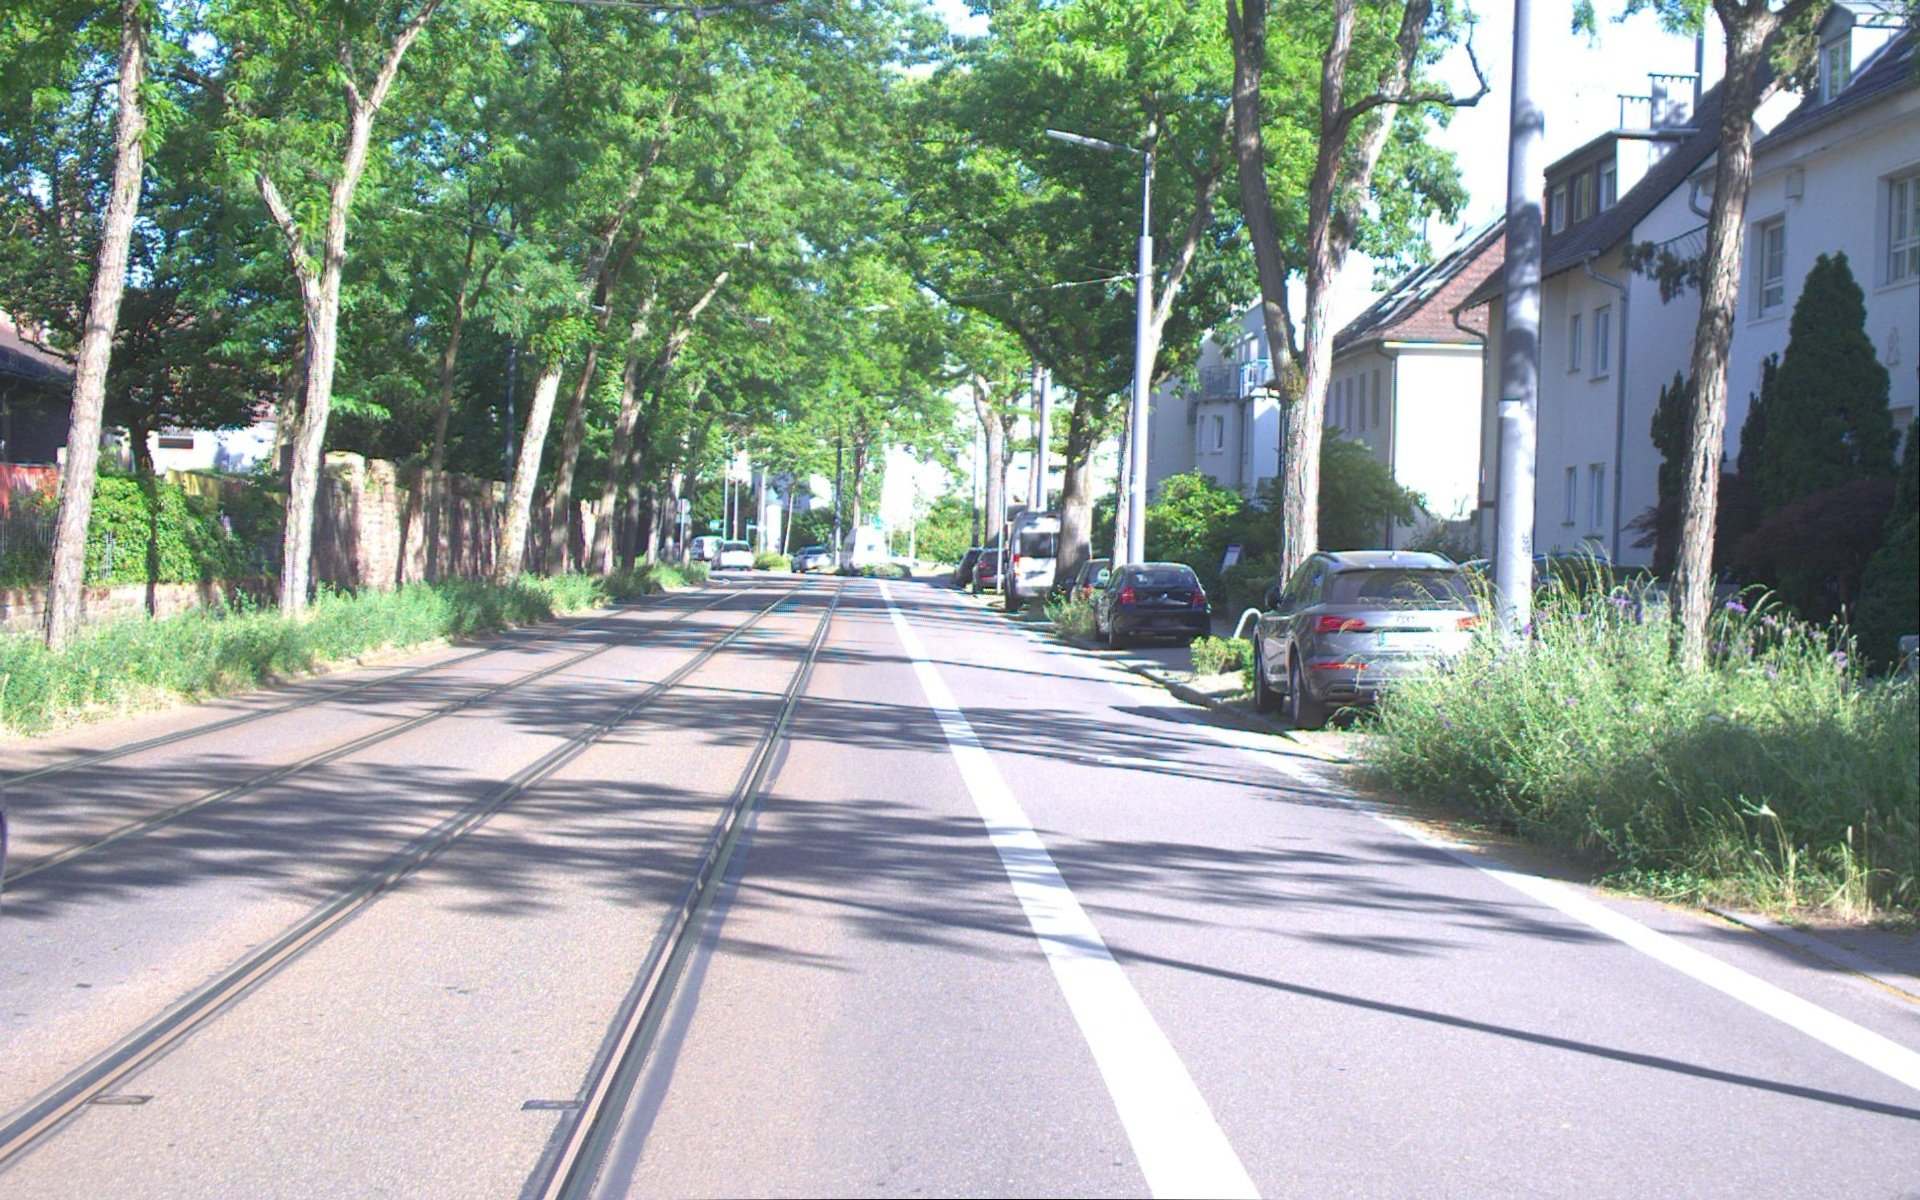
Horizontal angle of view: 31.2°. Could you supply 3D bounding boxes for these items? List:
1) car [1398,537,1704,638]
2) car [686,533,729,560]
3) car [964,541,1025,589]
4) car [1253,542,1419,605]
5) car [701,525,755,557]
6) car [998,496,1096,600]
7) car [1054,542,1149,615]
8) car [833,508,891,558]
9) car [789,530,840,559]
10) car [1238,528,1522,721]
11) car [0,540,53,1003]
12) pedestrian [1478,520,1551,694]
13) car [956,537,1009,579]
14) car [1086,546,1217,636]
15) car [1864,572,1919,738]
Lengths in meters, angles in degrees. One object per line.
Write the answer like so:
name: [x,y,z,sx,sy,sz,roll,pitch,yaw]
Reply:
car: [9.112,-0.208,53.244,4.421,1.484,1.858,-1,1,1]
car: [-17.893,-3.822,243.667,2.002,1.903,4.393,0,1,-19]
car: [1.208,-1.274,122.949,2.002,1.669,4.393,0,1,-2]
car: [8.663,-0.611,79.295,3.396,1.431,1.735,0,1,-14]
car: [-12.567,-3.196,186.019,1.865,1.669,4.174,1,1,-19]
car: [2.259,-1.372,90.861,2.245,2.645,5.586,0,1,-2]
car: [2.838,-0.454,69.397,1.627,1.393,3.646,-1,1,-2]
car: [-5.045,-3.446,176.373,1.993,2.449,4.510,1,1,-14]
car: [-8.246,-3.119,194.036,2.002,1.555,4.394,1,1,-14]
car: [3.968,0.177,33.194,1.993,1.698,4.478,-1,1,-2]
car: [-3.966,0.560,9.797,1.748,1.519,4.070,2,1,-2]
pedestrian: [6.052,0.069,37.539,0.625,1.864,0.732,-1,1,-2]
car: [0.937,-1.717,140.424,2.003,1.669,4.392,0,1,2]
car: [3.284,-0.179,59.790,1.783,1.443,4.302,-1,1,-3]
car: [9.830,0.498,28.622,4.050,1.338,1.878,2,1,-2]
